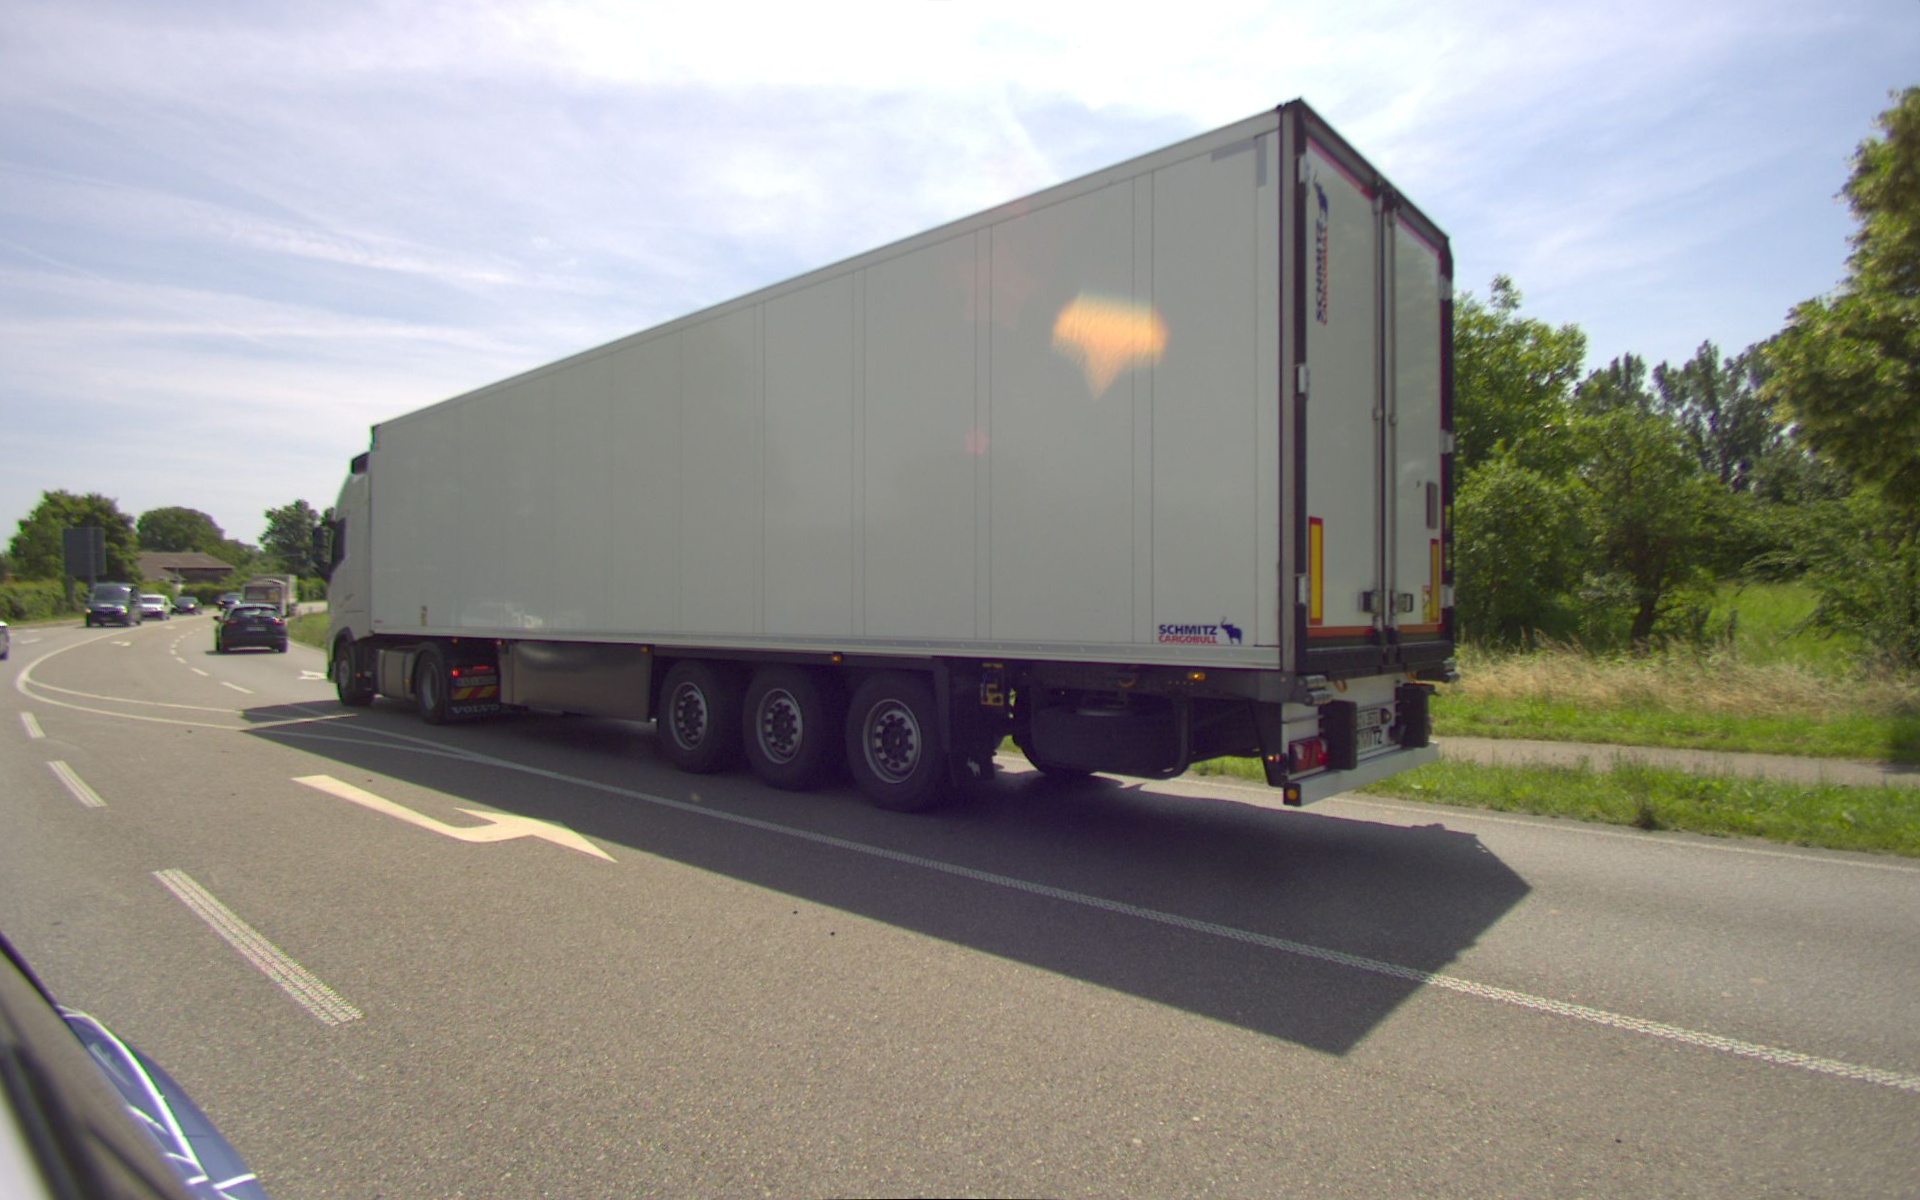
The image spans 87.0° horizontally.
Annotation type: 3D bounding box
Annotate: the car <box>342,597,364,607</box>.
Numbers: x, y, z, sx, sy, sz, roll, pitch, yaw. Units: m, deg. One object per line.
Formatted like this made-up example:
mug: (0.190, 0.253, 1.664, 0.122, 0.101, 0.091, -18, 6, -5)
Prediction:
car: (-94.600, 0.305, 157.799, 1.754, 1.504, 4.169, 0, 0, -14)

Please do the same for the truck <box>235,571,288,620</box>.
truck: (-53.825, -0.349, 78.124, 2.927, 3.597, 6.919, 1, 0, -31)

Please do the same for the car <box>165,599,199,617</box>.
car: (-66.882, 0.702, 86.997, 1.754, 1.504, 4.170, 0, 0, -30)

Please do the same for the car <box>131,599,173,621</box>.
car: (-58.123, 0.718, 72.885, 1.754, 1.504, 4.170, 0, 0, -30)

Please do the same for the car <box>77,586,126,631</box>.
car: (-50.377, 0.470, 59.361, 1.952, 2.538, 4.161, 0, 0, -44)

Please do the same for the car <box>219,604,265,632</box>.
car: (-39.660, 0.963, 55.943, 1.593, 1.473, 4.013, 0, 0, -28)

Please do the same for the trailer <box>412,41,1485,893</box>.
trailer: (-1.632, -0.583, 9.842, 11.657, 4.133, 2.748, -1, -1, 42)

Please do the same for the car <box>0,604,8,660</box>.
car: (-26.239, 0.867, 26.374, 1.756, 1.504, 4.165, -1, -1, -39)

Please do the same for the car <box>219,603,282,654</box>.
car: (-23.074, 0.878, 32.948, 1.594, 1.570, 4.010, 0, 0, -35)

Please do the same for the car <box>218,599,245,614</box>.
car: (-73.569, 0.683, 102.248, 1.754, 1.504, 4.170, 0, 0, -30)

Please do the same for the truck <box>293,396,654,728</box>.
truck: (-7.362, -0.390, 15.026, 5.703, 3.973, 2.749, -1, -2, 41)
